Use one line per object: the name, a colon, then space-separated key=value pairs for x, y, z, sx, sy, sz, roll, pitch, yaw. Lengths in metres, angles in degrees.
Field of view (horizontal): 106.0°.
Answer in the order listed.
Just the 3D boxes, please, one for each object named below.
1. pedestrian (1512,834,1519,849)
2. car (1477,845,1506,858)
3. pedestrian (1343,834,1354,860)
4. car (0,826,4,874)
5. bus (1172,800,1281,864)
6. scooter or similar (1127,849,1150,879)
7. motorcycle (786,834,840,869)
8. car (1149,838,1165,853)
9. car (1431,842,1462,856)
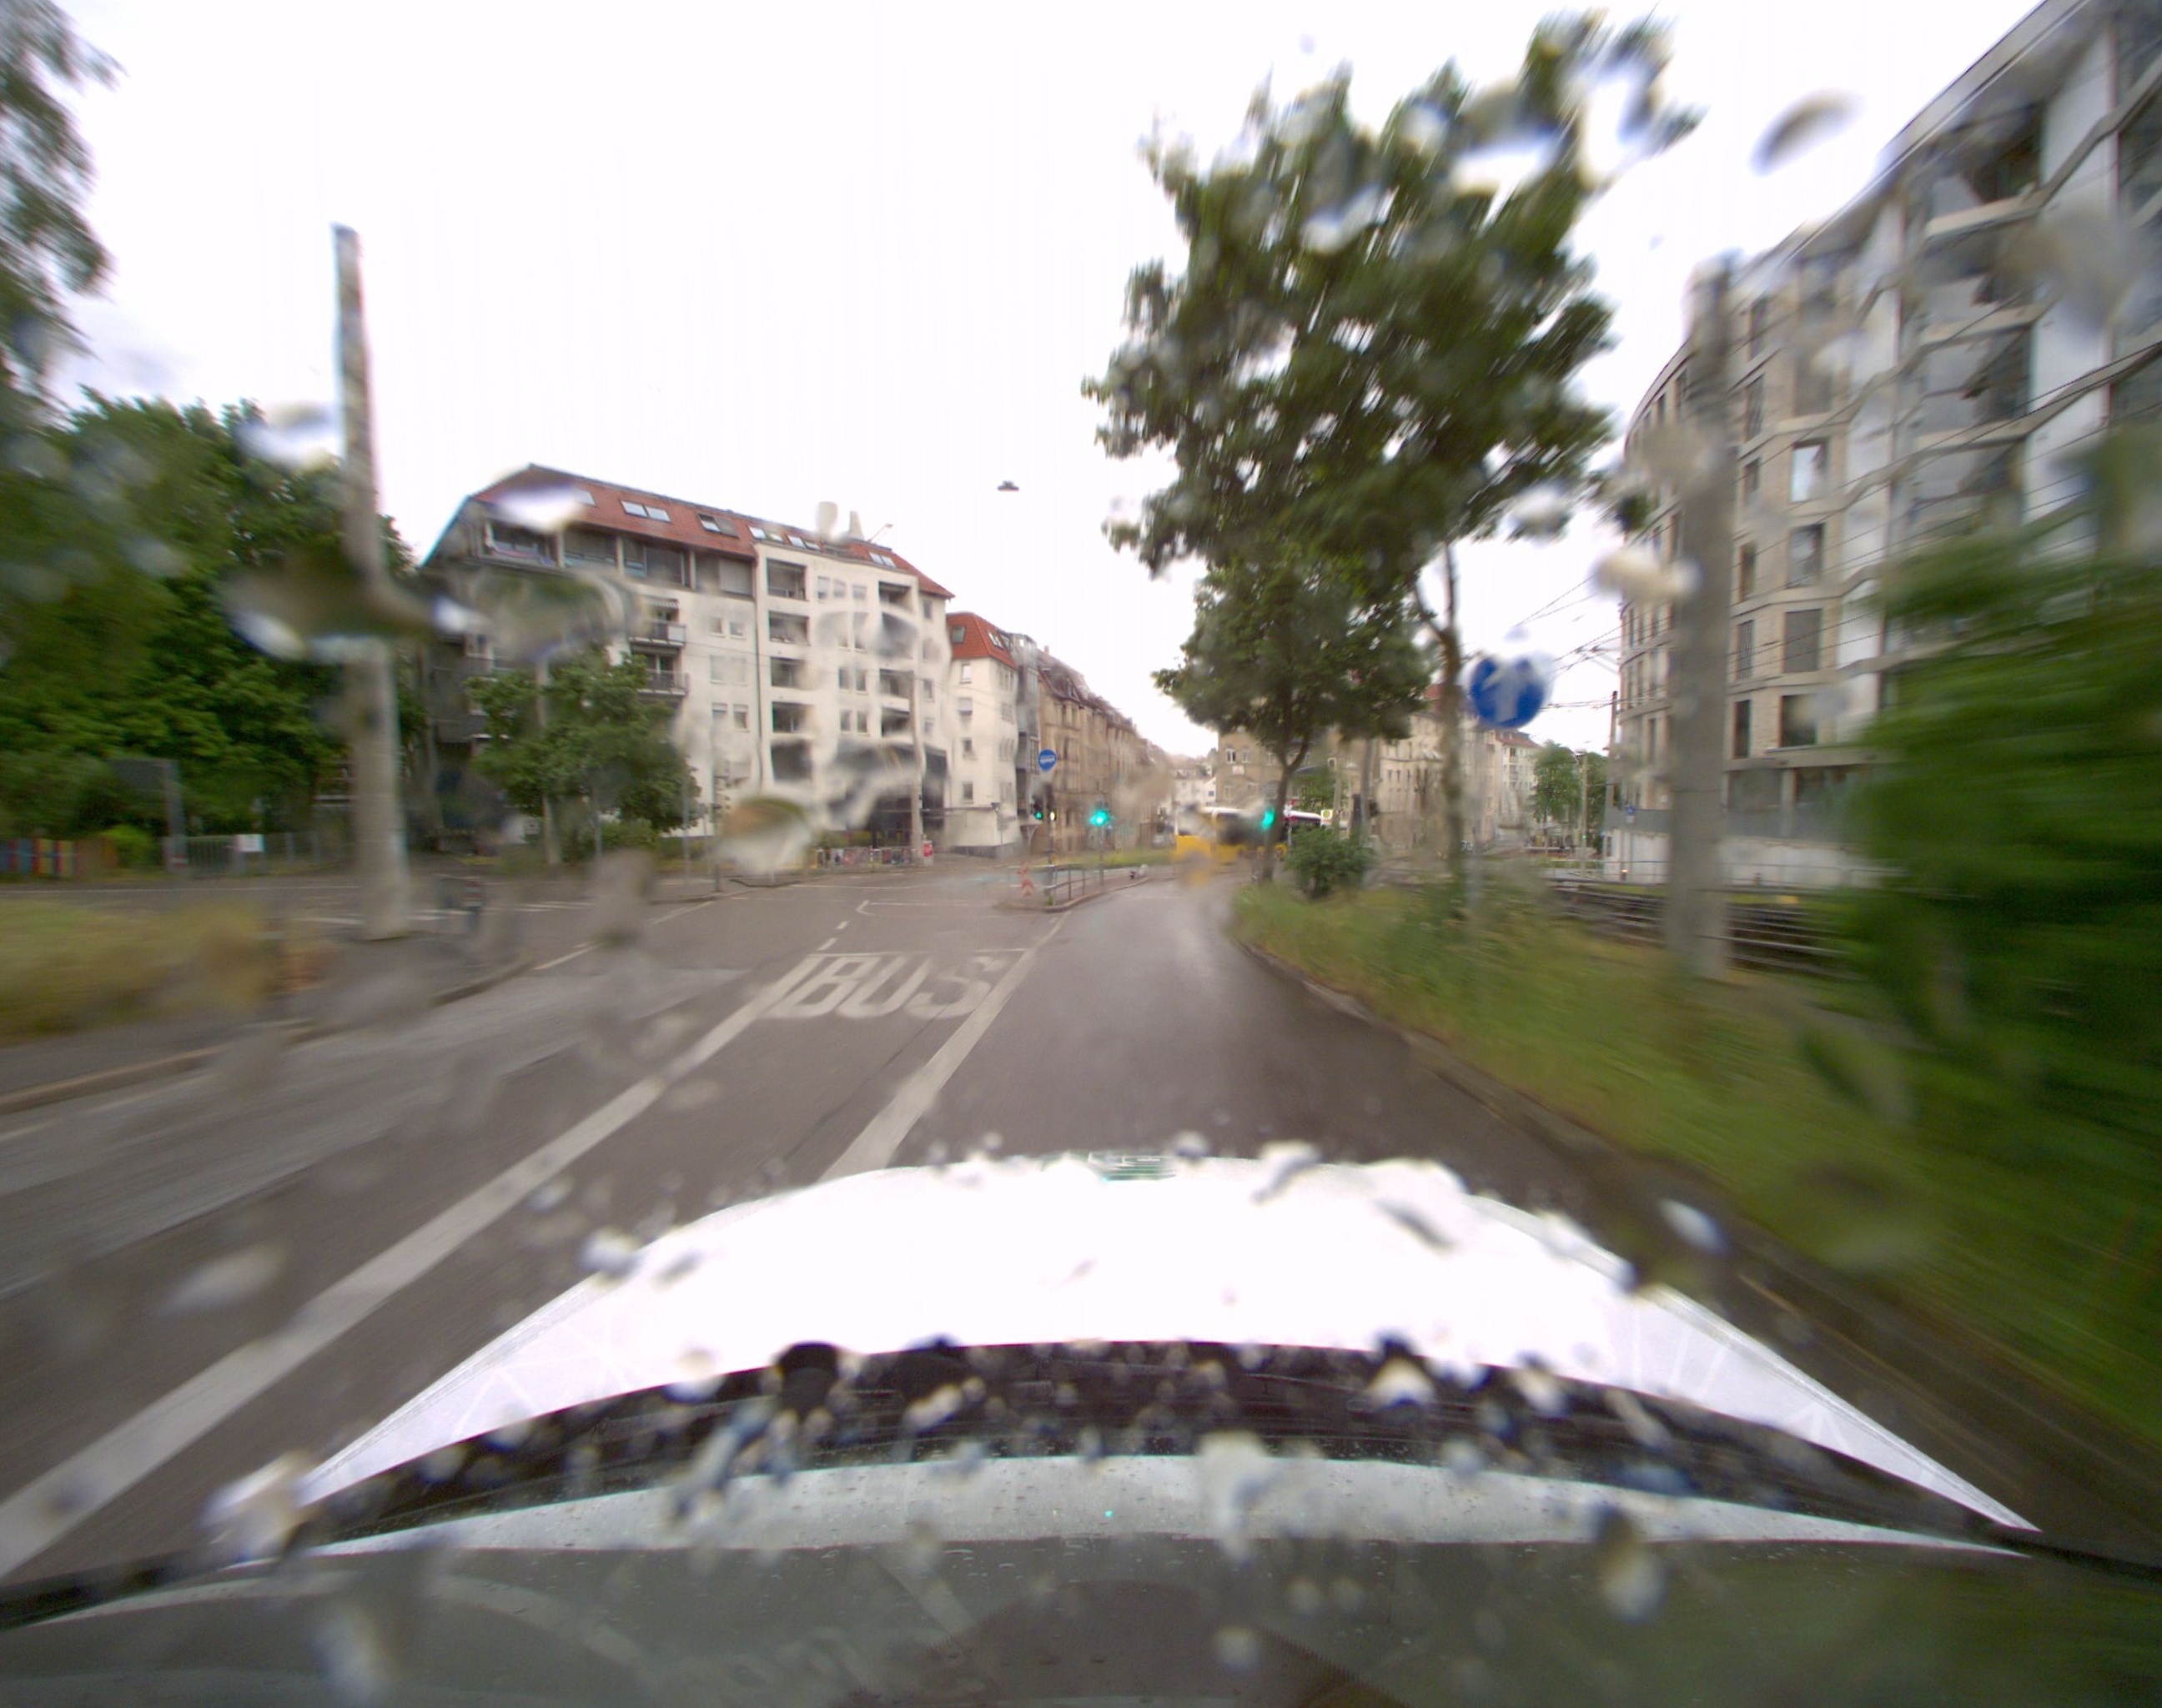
pedestrian: x=55.019 y=-1.533 z=103.106 sx=0.556 sy=1.850 sz=0.602 roll=-1 pitch=-1 yaw=44
car: x=56.899 y=-0.374 z=112.828 sx=4.840 sy=1.732 sz=1.976 roll=1 pitch=-1 yaw=-44
pedestrian: x=18.425 y=-0.494 z=56.022 sx=0.570 sy=1.752 sz=0.547 roll=1 pitch=0 yaw=33
car: x=-29.011 y=-0.101 z=19.025 sx=4.380 sy=1.223 sz=1.732 roll=0 pitch=0 yaw=-42
bus: x=8.811 y=-1.199 z=48.207 sx=2.565 sy=3.469 sz=9.165 roll=1 pitch=1 yaw=36
scooter or similar: x=2.253 y=0.375 z=32.012 sx=0.429 sy=1.113 sz=1.613 roll=2 pitch=1 yaw=21
motorcycle: x=-12.826 y=-0.122 z=39.099 sx=0.690 sy=1.550 sz=2.456 roll=5 pitch=3 yaw=37
car: x=11.296 y=-1.309 z=120.970 sx=2.129 sy=2.136 sz=4.860 roll=1 pitch=0 yaw=2
car: x=46.062 y=-0.623 z=102.576 sx=1.976 sy=1.532 sz=4.559 roll=5 pitch=2 yaw=44
